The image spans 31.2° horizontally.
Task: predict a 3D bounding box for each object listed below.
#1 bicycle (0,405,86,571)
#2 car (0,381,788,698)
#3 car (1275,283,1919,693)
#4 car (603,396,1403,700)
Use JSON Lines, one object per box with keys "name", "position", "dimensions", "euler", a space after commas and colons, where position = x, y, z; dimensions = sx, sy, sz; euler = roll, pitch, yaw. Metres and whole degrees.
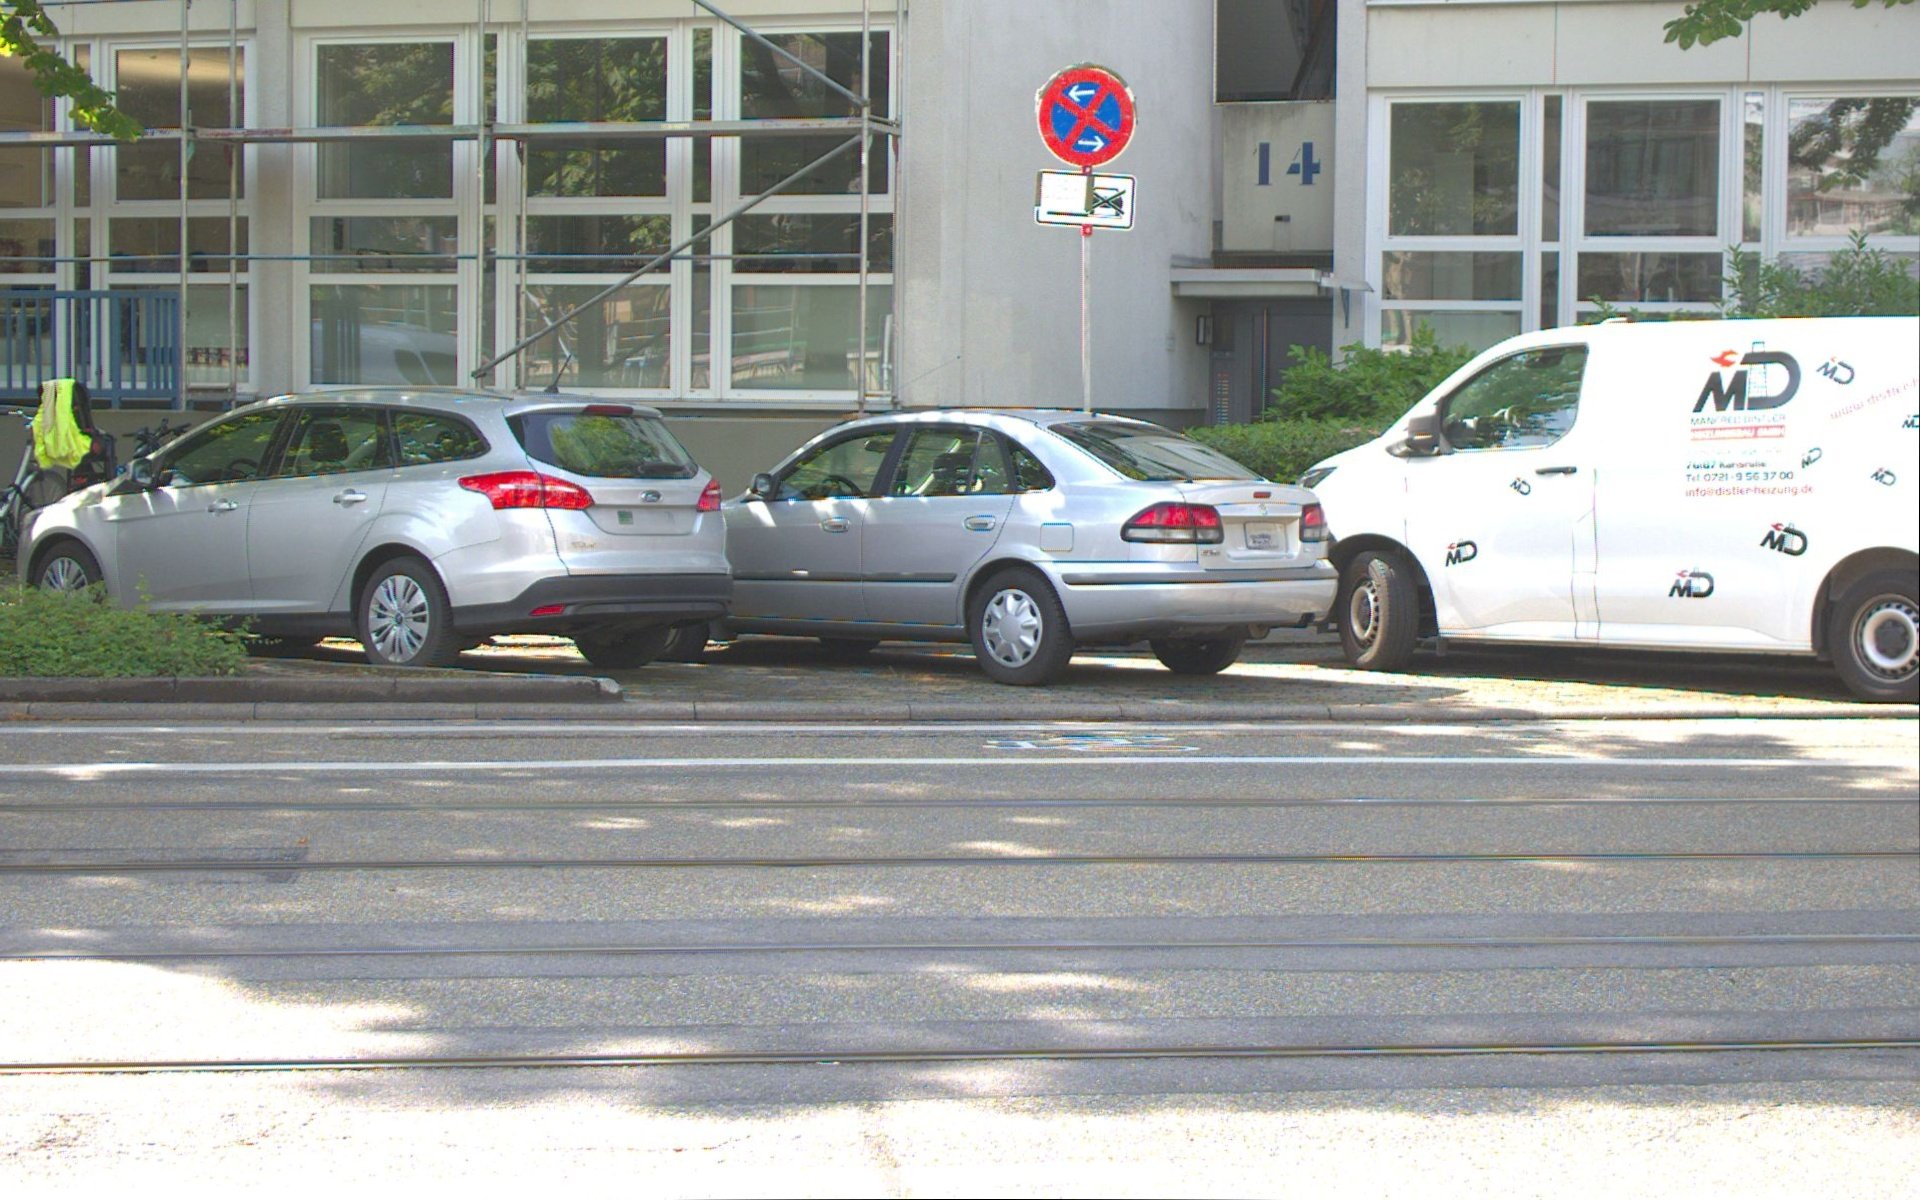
{"name": "bicycle", "position": [-6.929, -0.805, 24.603], "dimensions": [0.541, 1.158, 1.580], "euler": [-1, 3, 17]}
{"name": "car", "position": [-3.120, -0.407, 18.491], "dimensions": [4.189, 1.495, 1.818], "euler": [3, 4, 37]}
{"name": "car", "position": [4.180, -0.651, 18.404], "dimensions": [4.682, 1.990, 1.964], "euler": [4, 4, 41]}
{"name": "car", "position": [0.152, -0.365, 18.805], "dimensions": [4.168, 1.444, 1.818], "euler": [4, 4, 41]}
